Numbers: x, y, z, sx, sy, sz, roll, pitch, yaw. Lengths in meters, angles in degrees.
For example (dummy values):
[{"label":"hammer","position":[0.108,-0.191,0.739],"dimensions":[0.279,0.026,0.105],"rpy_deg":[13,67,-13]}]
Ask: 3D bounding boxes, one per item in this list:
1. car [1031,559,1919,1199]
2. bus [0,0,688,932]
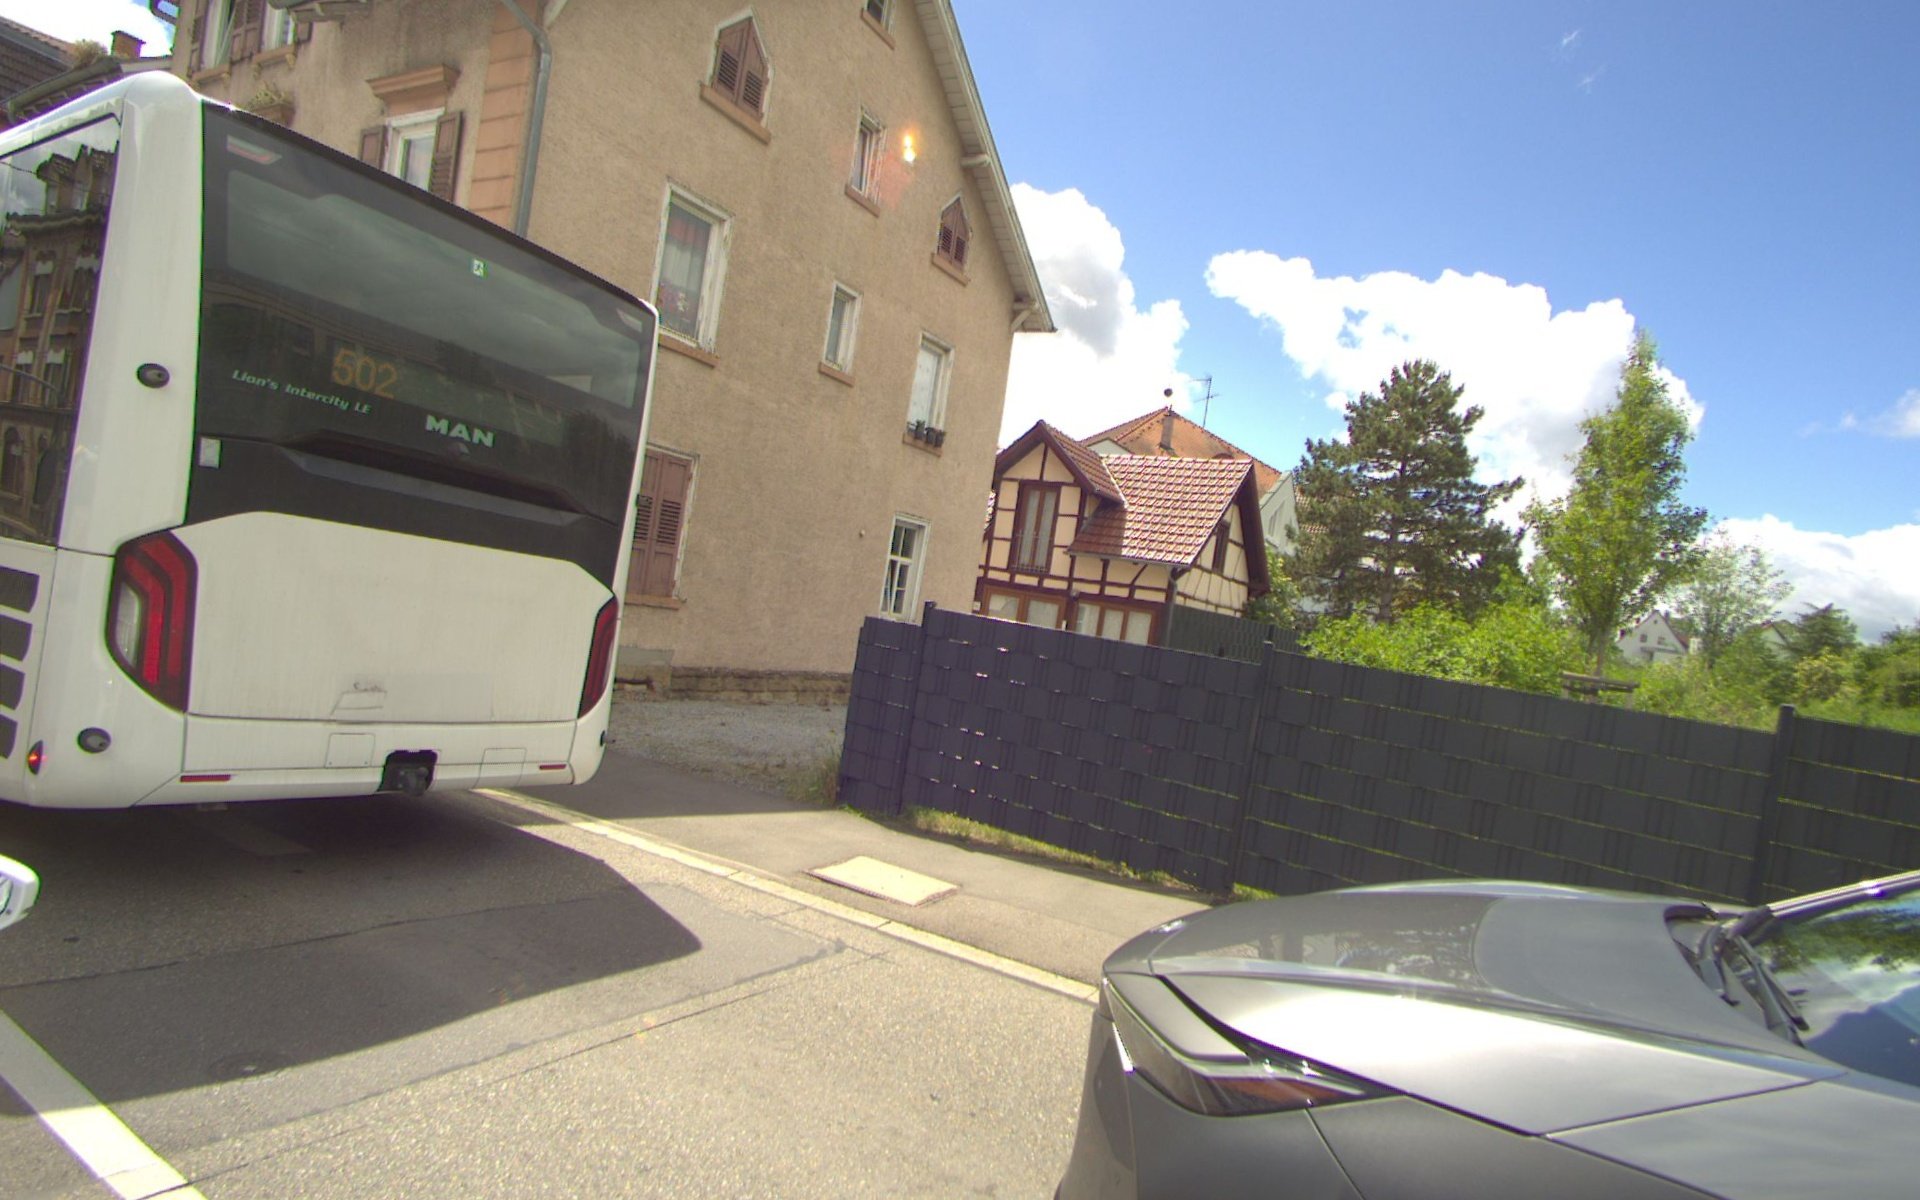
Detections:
[{"label":"car","position":[2.565,1.096,1.180],"dimensions":[4.605,1.631,1.924],"rpy_deg":[7,-2,32]},{"label":"bus","position":[-7.549,-0.961,7.776],"dimensions":[12.256,3.195,2.675],"rpy_deg":[7,0,32]}]
